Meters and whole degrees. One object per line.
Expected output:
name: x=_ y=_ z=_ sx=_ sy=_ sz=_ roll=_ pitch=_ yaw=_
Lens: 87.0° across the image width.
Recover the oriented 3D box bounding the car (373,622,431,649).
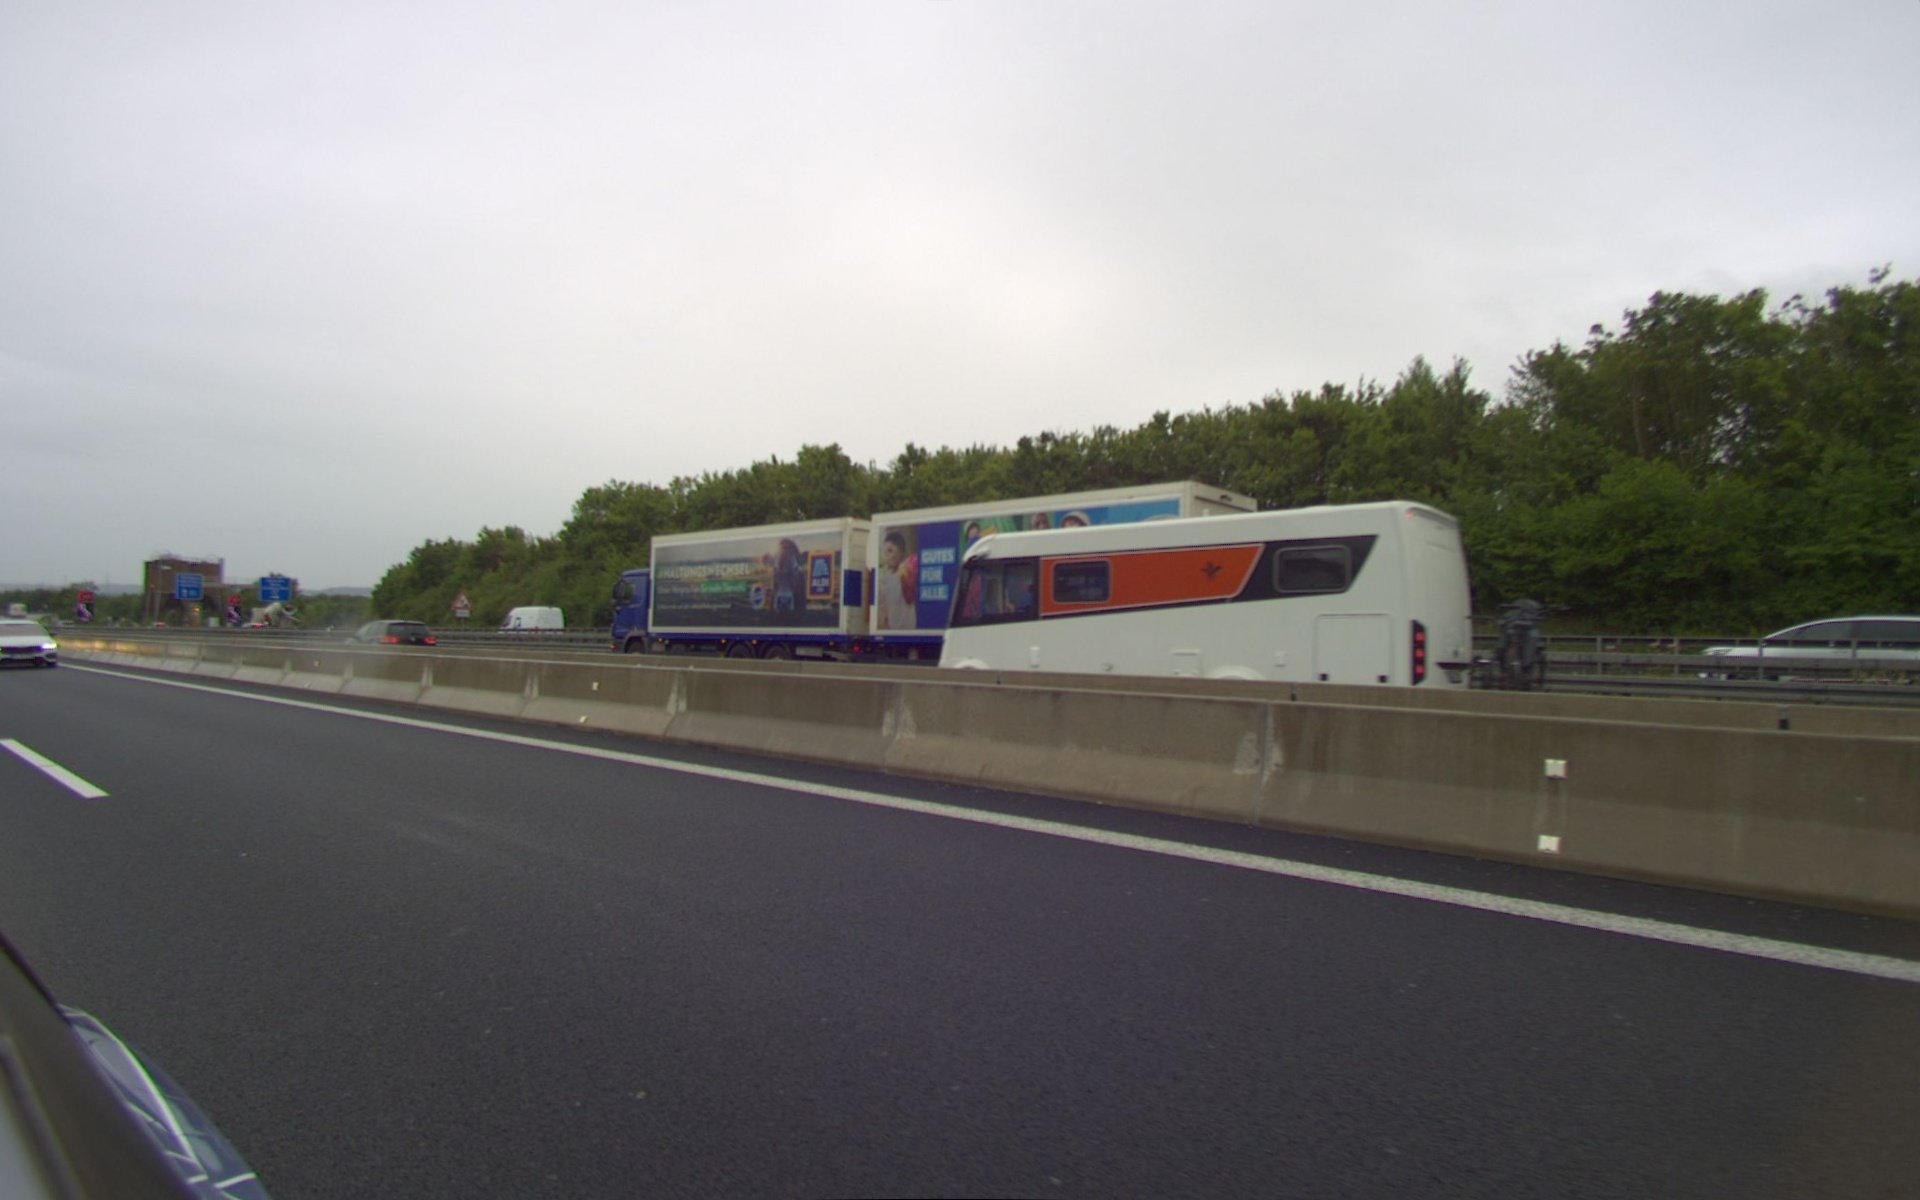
car: x=-38.486 y=2.428 z=69.796 sx=4.579 sy=1.750 sz=1.973 roll=-1 pitch=-2 yaw=40

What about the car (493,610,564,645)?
car: x=-28.282 y=1.803 z=66.302 sx=5.711 sy=2.230 sz=1.973 roll=-1 pitch=-2 yaw=41

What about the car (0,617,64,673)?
car: x=-29.045 y=1.335 z=30.880 sx=4.814 sy=1.603 sz=1.972 roll=-1 pitch=-2 yaw=41

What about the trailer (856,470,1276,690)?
trailer: x=1.776 y=-0.290 z=20.024 sx=8.048 sy=3.542 sz=2.912 roll=-1 pitch=0 yaw=41

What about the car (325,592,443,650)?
car: x=-18.239 y=0.646 z=31.985 sx=3.998 sy=1.630 sz=1.973 roll=-1 pitch=1 yaw=41

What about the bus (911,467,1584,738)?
bus: x=3.240 y=0.058 z=13.398 sx=8.265 sy=2.606 sz=2.515 roll=-1 pitch=0 yaw=40

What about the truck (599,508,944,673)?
truck: x=-5.311 y=-0.152 z=26.279 sx=10.636 sy=3.551 sz=2.779 roll=-1 pitch=0 yaw=41

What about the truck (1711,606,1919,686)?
truck: x=17.944 y=0.890 z=20.409 sx=4.465 sy=1.507 sz=1.974 roll=-1 pitch=-1 yaw=38

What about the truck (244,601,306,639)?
truck: x=-69.530 y=2.016 z=102.641 sx=9.550 sy=3.689 sz=2.658 roll=-1 pitch=-2 yaw=40

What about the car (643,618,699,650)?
car: x=-19.112 y=2.237 z=66.841 sx=3.999 sy=2.029 sz=1.731 roll=-1 pitch=-2 yaw=42
